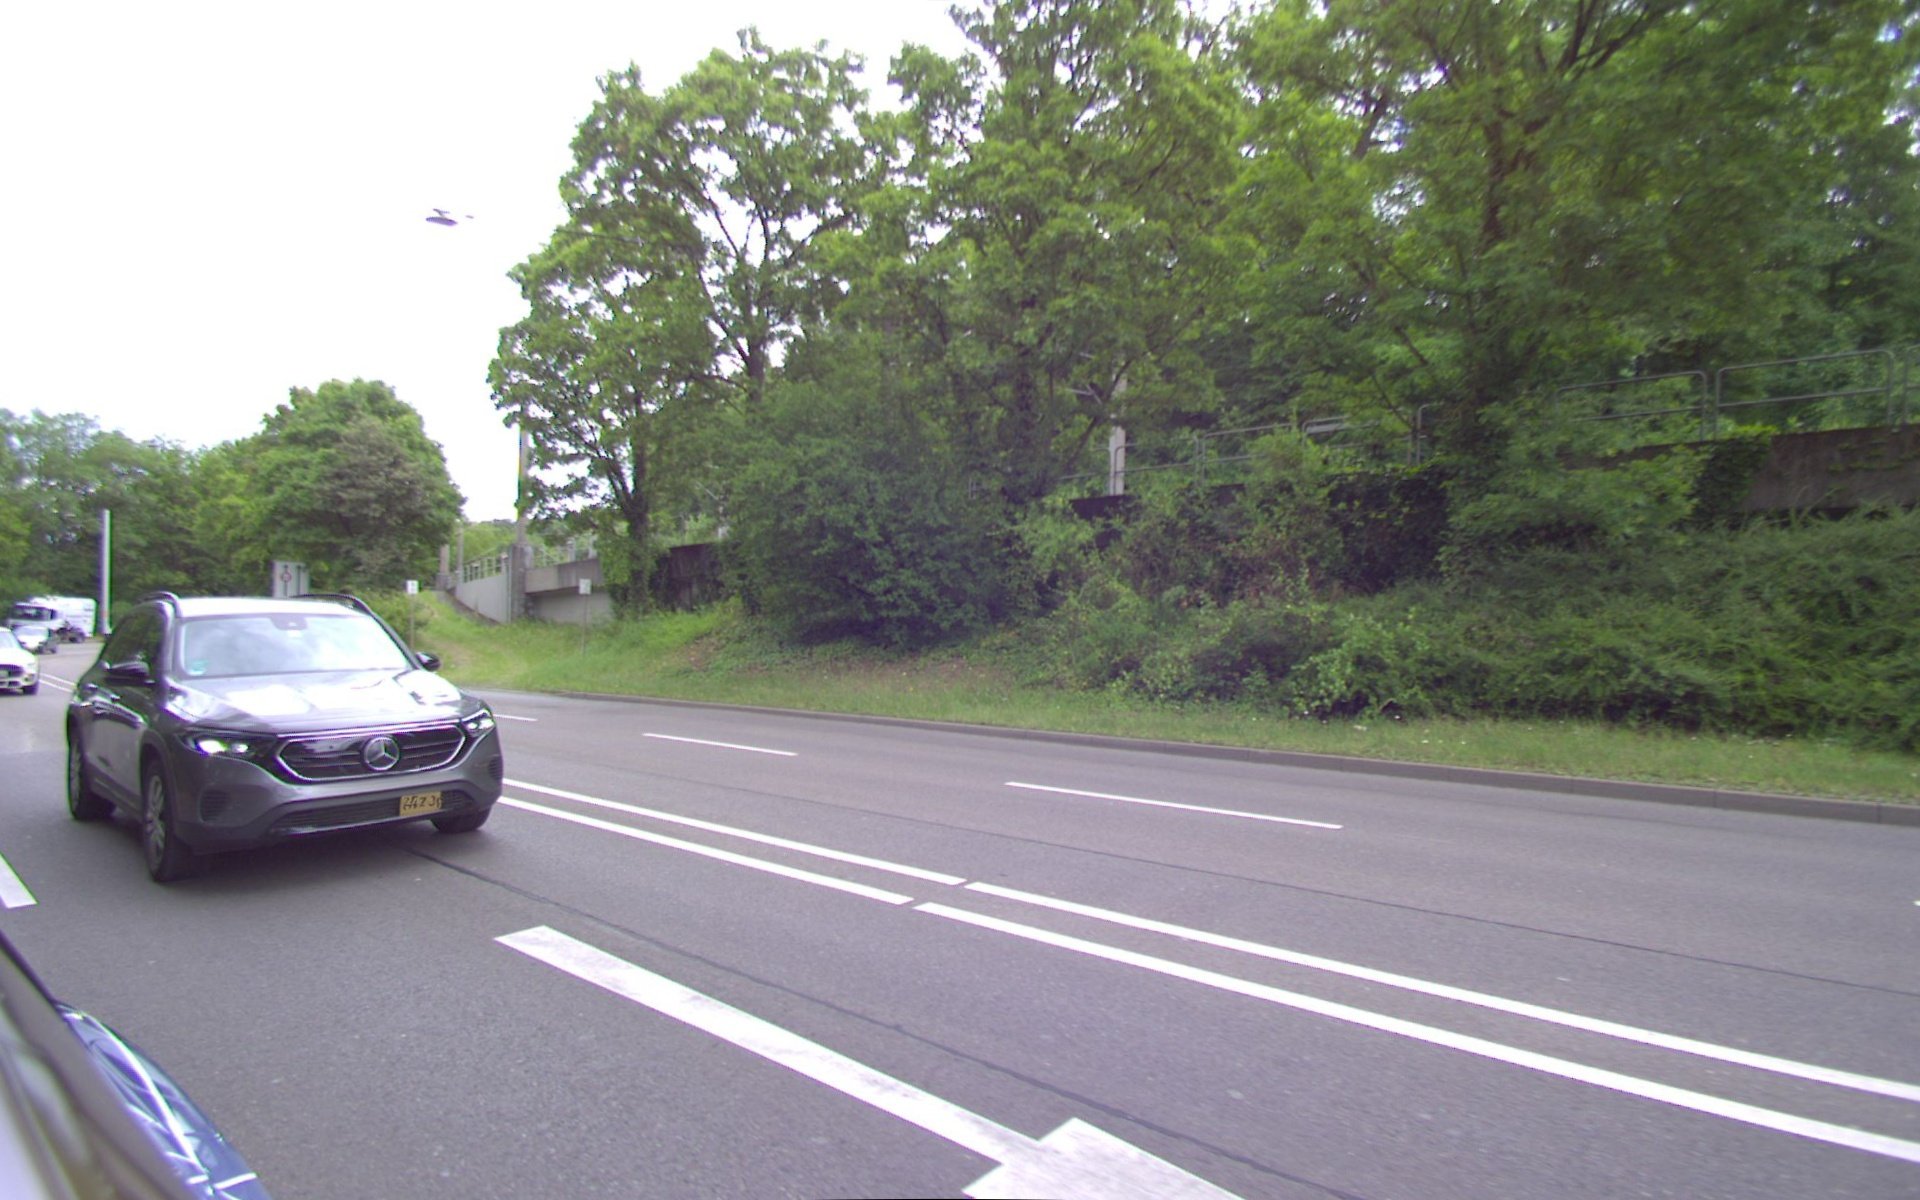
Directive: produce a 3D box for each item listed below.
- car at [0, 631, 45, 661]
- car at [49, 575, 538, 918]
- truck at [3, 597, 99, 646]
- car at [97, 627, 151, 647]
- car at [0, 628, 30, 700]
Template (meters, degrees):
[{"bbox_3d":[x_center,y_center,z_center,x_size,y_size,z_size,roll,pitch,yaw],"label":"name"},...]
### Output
[{"bbox_3d":[-47.355,2.277,50.843,1.637,1.401,4.193,0,-1,-36],"label":"car"},{"bbox_3d":[-4.849,0.758,7.071,4.356,1.664,1.830,-2,-1,42],"label":"car"},{"bbox_3d":[-63.006,1.568,70.330,2.164,3.180,6.670,2,-3,-16],"label":"truck"},{"bbox_3d":[-65.511,2.908,79.352,1.727,1.372,4.021,3,-4,-16],"label":"car"},{"bbox_3d":[-20.921,1.326,21.265,3.731,1.434,1.666,-2,-1,42],"label":"car"}]
